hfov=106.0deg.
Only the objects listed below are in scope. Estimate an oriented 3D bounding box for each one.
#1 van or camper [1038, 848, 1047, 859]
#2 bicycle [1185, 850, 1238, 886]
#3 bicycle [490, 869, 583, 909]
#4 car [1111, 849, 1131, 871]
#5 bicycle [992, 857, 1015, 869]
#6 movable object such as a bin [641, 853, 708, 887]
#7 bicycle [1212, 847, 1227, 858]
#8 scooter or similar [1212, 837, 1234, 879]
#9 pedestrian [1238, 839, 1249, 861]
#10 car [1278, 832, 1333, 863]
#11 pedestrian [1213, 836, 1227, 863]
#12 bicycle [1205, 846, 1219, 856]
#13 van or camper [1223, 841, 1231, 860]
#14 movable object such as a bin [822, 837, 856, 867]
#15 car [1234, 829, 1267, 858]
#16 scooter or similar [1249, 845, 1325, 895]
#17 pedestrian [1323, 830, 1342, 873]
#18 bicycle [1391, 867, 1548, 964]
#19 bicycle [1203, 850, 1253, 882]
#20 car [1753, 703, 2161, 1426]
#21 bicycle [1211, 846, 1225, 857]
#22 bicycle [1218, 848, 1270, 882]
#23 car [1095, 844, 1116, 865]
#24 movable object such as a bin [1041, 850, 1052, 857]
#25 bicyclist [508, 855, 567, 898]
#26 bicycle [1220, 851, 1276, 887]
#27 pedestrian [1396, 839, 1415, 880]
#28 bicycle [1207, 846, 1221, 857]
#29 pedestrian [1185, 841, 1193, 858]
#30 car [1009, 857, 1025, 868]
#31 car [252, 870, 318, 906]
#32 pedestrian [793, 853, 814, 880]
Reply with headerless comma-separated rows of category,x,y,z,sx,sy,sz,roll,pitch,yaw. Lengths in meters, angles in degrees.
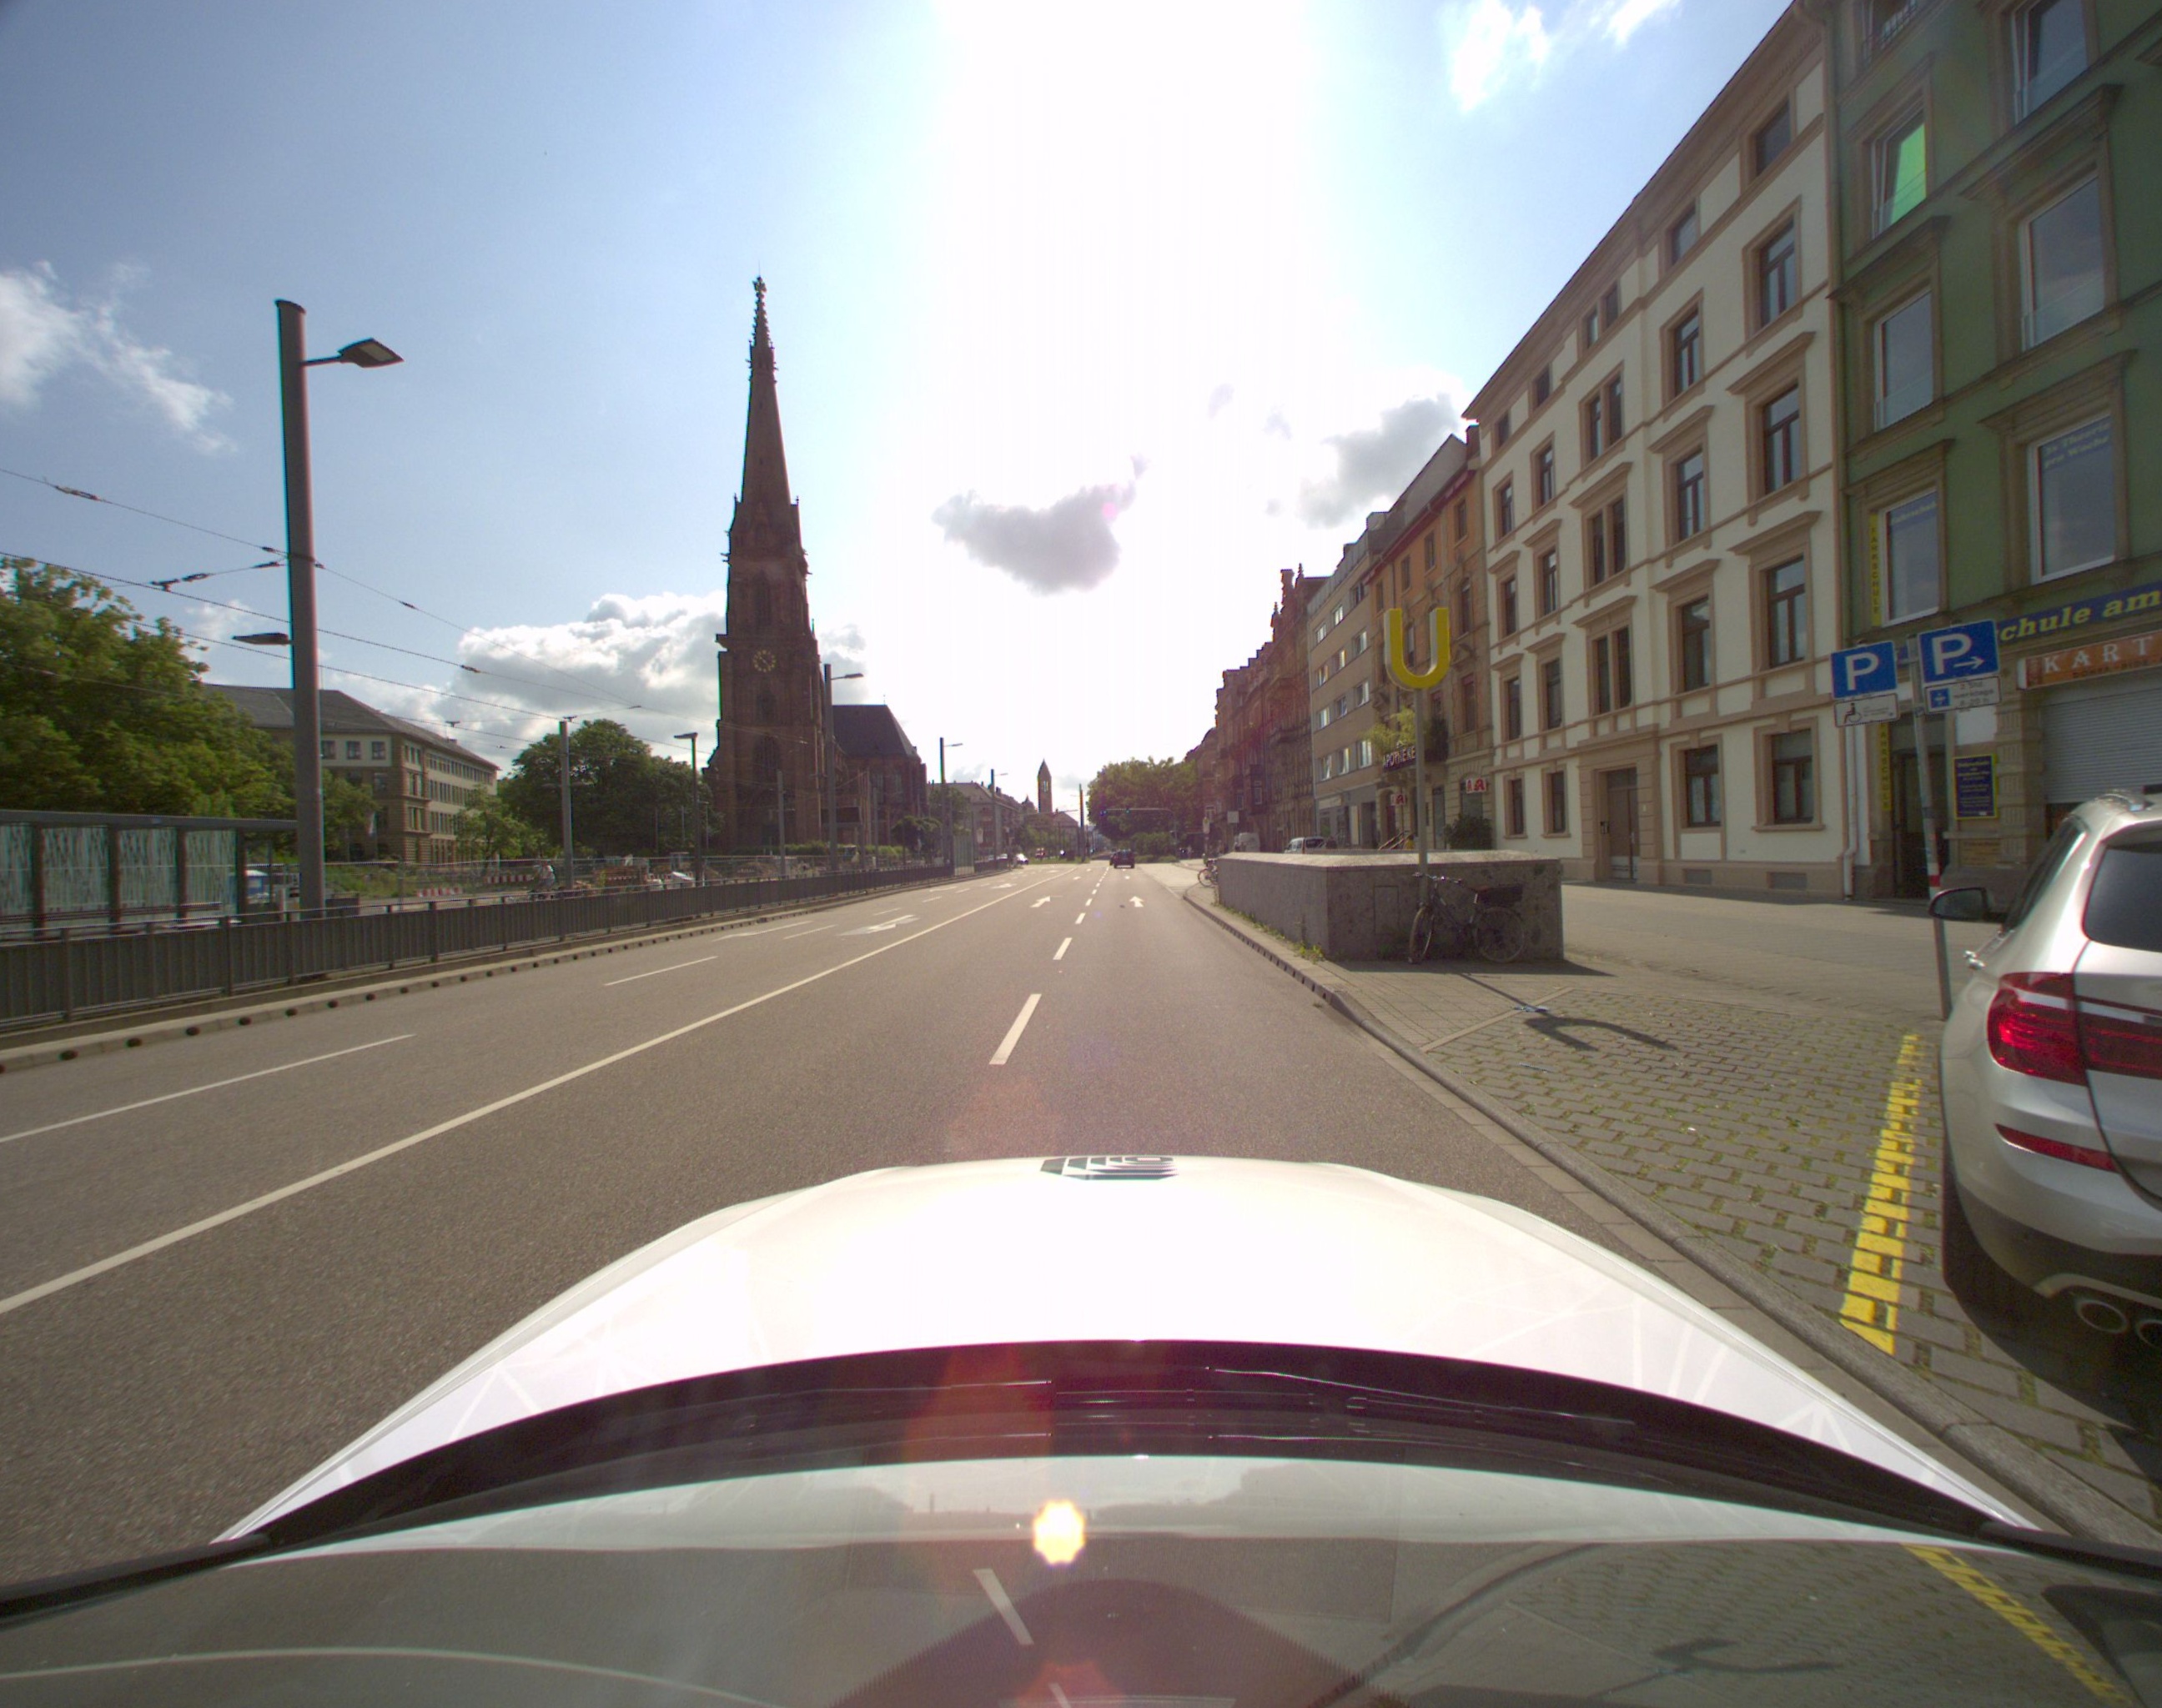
van or camper,-10.043,-0.237,213.040,2.249,2.737,6.200,-2,0,-1
bicycle,4.941,0.514,30.869,1.925,1.237,0.439,-3,2,-11
bicycle,-22.156,1.384,33.298,1.189,1.427,3.694,-2,0,1
car,3.562,0.537,72.954,1.683,1.711,3.610,-2,2,1
bicycle,-7.681,0.875,80.668,2.004,1.126,0.934,-2,0,12
movable object such as a bin,-37.894,1.445,76.037,5.129,2.911,1.997,-2,0,-5
bicycle,16.840,-0.226,99.153,1.760,1.267,0.467,-2,2,5
scooter or similar,6.158,0.167,35.426,0.397,1.786,1.532,-2,0,-10
pedestrian,13.402,-0.326,67.283,0.661,1.836,0.693,-3,0,-4
car,14.595,-0.358,53.193,1.989,1.862,4.747,-2,-1,-3
pedestrian,10.046,-0.330,58.966,0.664,1.903,0.691,-2,0,-16
bicycle,16.663,-0.372,103.705,1.760,1.267,0.467,-2,2,5
van or camper,16.420,-0.389,91.512,0.663,2.013,0.638,-3,0,2
movable object such as a bin,-26.724,-0.283,90.133,1.983,3.105,4.009,-2,2,7
car,15.660,-0.925,75.589,1.985,2.525,5.893,-2,0,3
scooter or similar,6.728,0.521,26.665,2.311,1.545,0.699,-2,2,8
pedestrian,12.773,-0.136,41.383,0.718,2.099,0.787,-2,2,3
bicycle,4.820,0.750,10.164,1.627,1.095,0.613,2,2,0
bicycle,6.095,0.486,33.815,1.978,1.237,0.440,-2,2,-9
car,4.411,0.400,3.100,4.620,1.647,2.037,-2,0,-40
bicycle,16.779,-0.260,99.758,1.737,1.267,0.467,-2,2,5
bicycle,6.324,0.419,31.623,1.923,1.237,0.440,-2,2,-9
car,2.484,0.013,84.117,1.987,2.013,3.999,-3,0,0
movable object such as a bin,-9.270,-0.243,218.996,2.207,1.693,3.705,-2,2,-10
bicyclist,-22.173,0.890,33.269,1.173,1.684,1.684,-2,0,1
bicycle,6.110,0.545,29.859,1.915,1.237,0.442,-2,2,4
pedestrian,13.719,0.215,34.447,0.576,1.697,0.613,-2,2,3
bicycle,16.666,-0.337,101.995,1.760,1.267,0.467,-2,2,5
pedestrian,13.390,-0.574,100.835,0.764,2.013,0.716,-3,0,3
car,-8.929,1.143,113.981,1.911,1.417,3.739,-2,0,-2
car,-53.581,2.240,54.906,1.946,2.137,4.602,-2,2,-29
pedestrian,-21.087,0.940,61.939,1.060,2.013,1.052,-3,0,6
